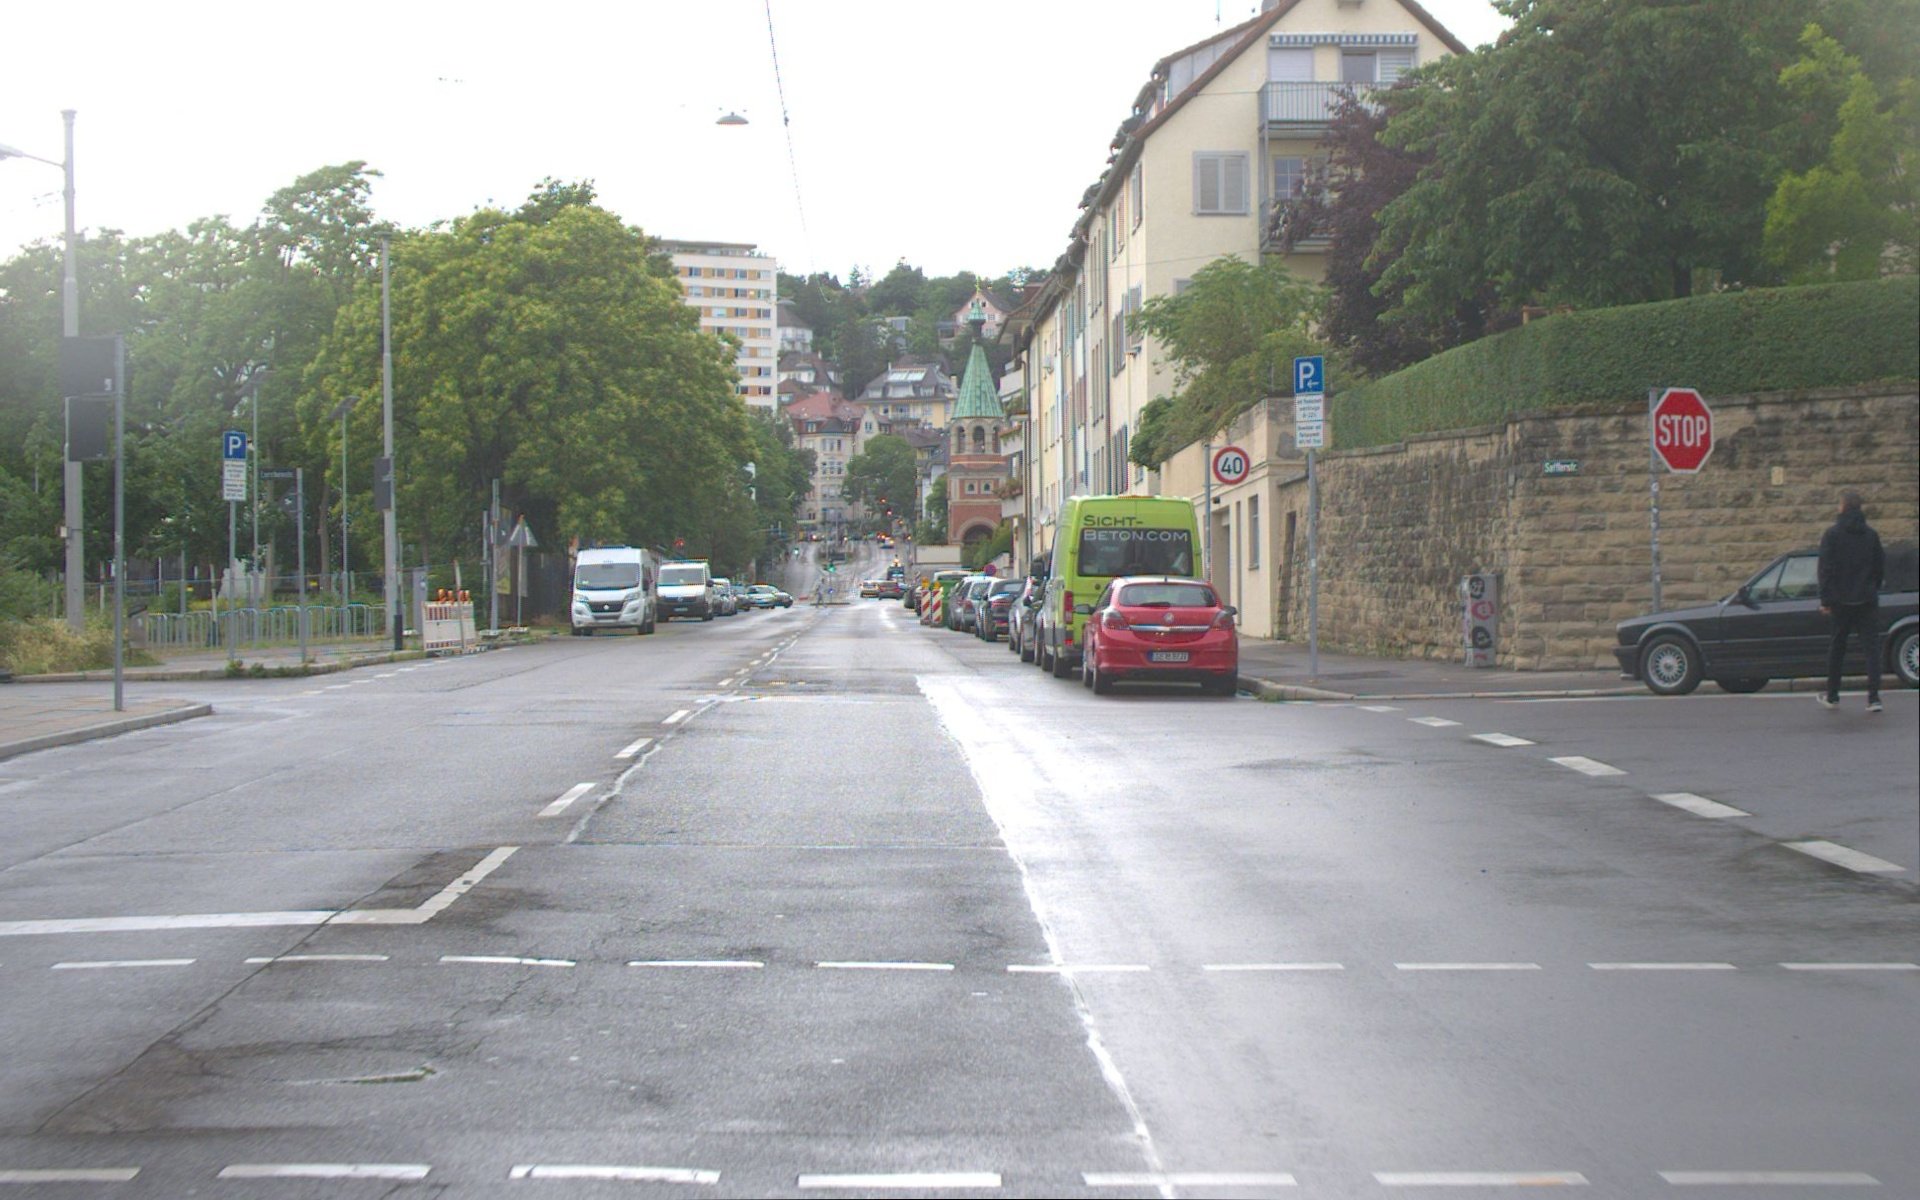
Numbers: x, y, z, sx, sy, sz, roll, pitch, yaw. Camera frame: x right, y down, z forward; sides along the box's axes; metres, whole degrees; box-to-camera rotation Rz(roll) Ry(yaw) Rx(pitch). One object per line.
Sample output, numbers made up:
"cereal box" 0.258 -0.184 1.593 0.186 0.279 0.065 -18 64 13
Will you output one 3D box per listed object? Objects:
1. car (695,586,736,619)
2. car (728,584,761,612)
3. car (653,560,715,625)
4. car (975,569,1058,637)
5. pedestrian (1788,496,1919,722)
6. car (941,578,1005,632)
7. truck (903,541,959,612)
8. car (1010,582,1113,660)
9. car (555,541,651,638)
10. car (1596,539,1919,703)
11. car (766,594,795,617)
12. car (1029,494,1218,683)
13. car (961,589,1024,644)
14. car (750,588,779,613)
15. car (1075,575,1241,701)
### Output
"car" -10.825 0.114 152.540 1.682 1.394 3.911 -1 0 -2
"car" -12.116 -0.101 193.296 1.803 1.446 4.658 -1 -1 -4
"car" -10.931 -0.317 136.690 2.012 2.479 5.983 -1 0 -1
"car" 1.246 0.042 76.709 1.629 1.449 3.760 1 0 -2
"pedestrian" 6.961 0.066 26.818 0.723 1.709 0.905 -2 1 -1
"car" 0.367 0.124 101.262 1.716 1.519 4.000 1 0 -2
"truck" -1.339 -1.033 156.914 2.469 3.161 7.036 0 0 -1
"car" 1.928 0.423 66.463 1.688 1.449 4.235 1 -1 -2
"car" -10.091 -0.309 97.725 2.230 2.570 6.538 -2 0 -2
"car" 8.317 0.189 32.247 4.273 1.388 1.748 -3 -2 41
"car" -11.390 0.335 218.590 1.805 1.411 4.384 -1 0 -3
"car" 2.225 -0.181 48.444 2.205 2.455 6.080 1 0 -1
"car" 0.894 0.449 96.123 1.558 1.449 3.760 1 0 -2
"car" -11.841 0.016 208.317 1.709 1.446 4.294 -1 -1 -3
"car" 2.367 0.427 41.890 1.721 1.416 4.203 1 0 0
